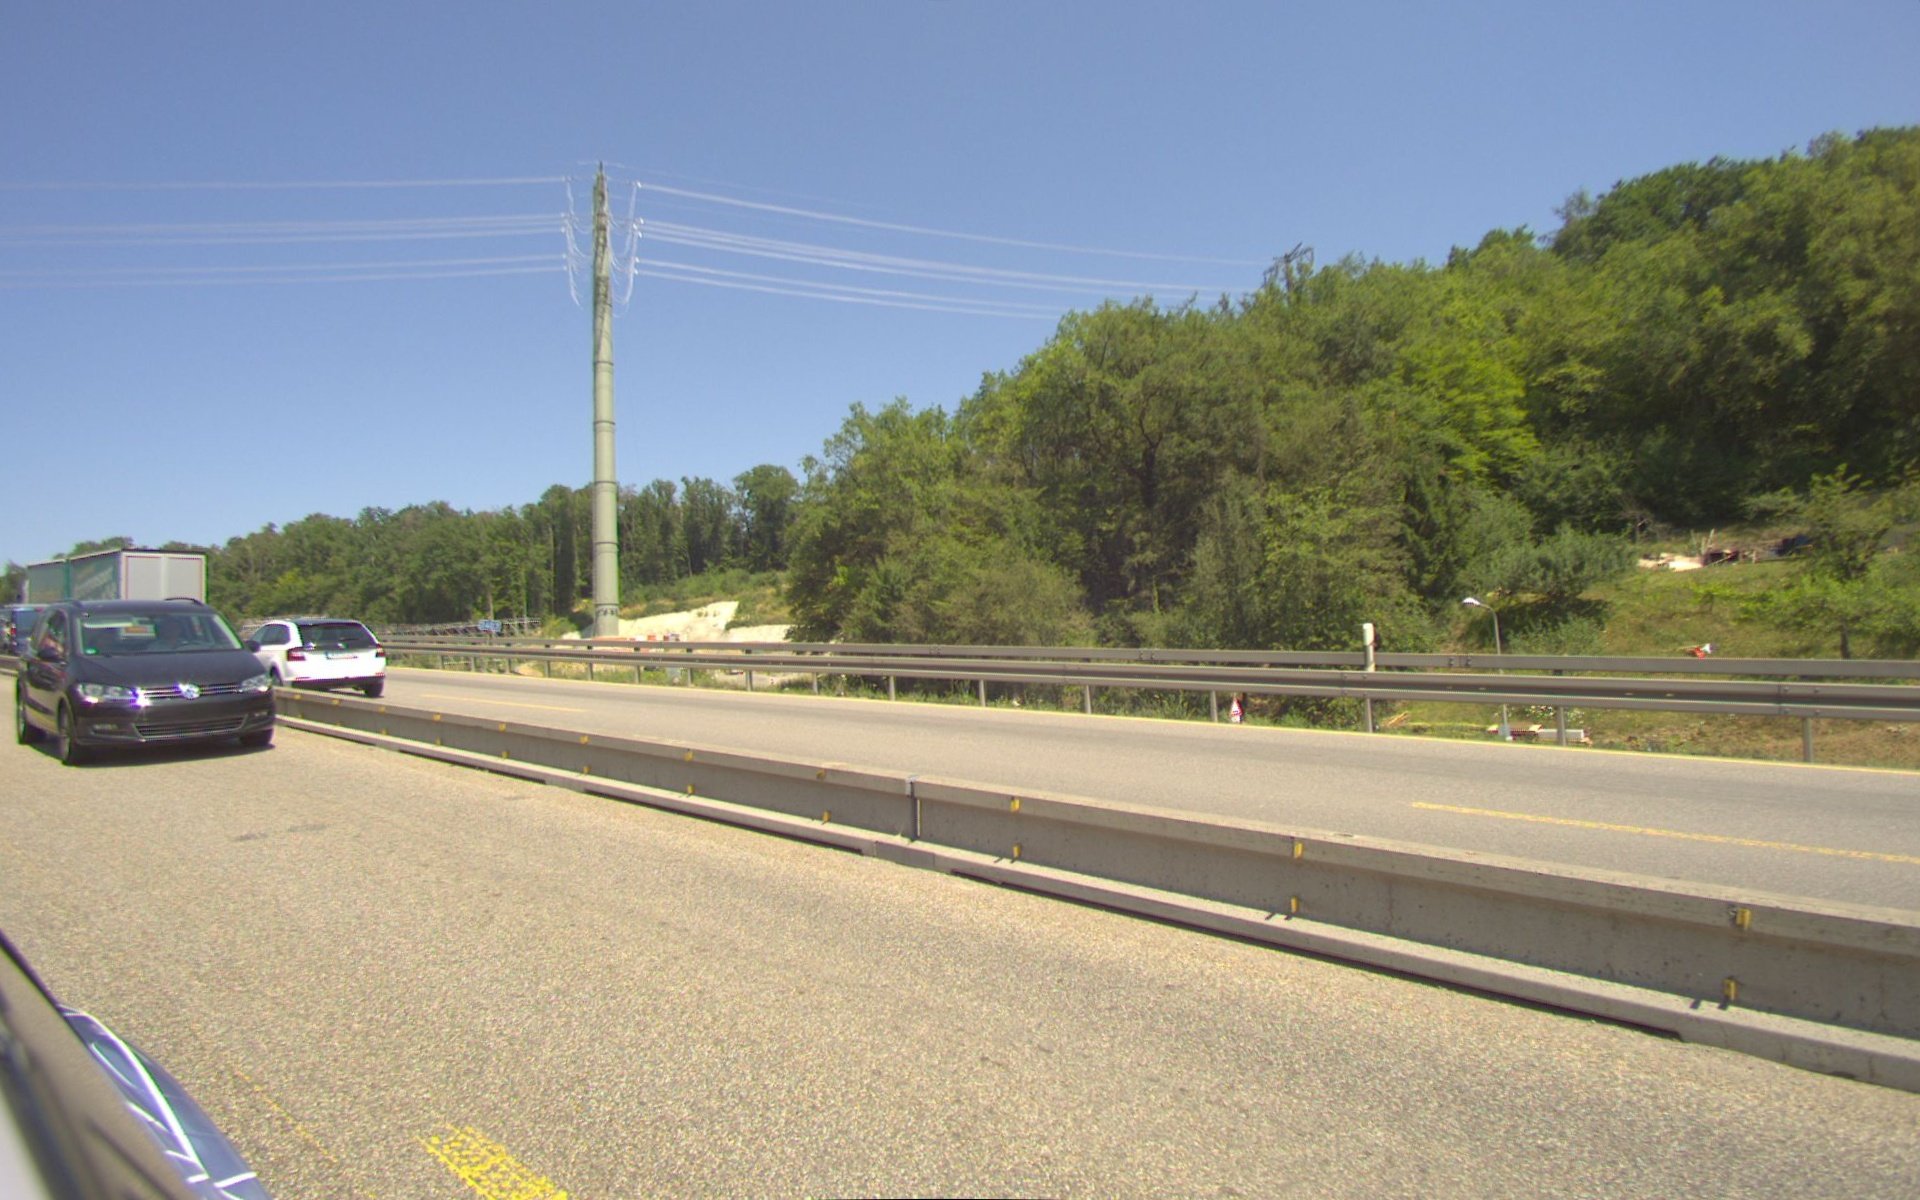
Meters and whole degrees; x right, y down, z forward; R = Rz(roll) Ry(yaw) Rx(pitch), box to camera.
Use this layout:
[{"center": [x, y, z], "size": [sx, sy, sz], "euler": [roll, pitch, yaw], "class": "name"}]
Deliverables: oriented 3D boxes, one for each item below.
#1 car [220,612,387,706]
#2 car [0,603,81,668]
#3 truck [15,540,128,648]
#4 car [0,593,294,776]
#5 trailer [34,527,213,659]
[{"center": [-12.319, 1.013, 18.900], "size": [4.152, 1.533, 1.565], "euler": [0, 0, 41], "class": "car"}, {"center": [-33.496, 1.212, 36.455], "size": [4.827, 2.189, 1.974], "euler": [0, 0, 39], "class": "car"}, {"center": [-40.666, -0.244, 46.290], "size": [5.778, 4.614, 2.820], "euler": [0, 0, 37], "class": "truck"}, {"center": [-9.792, 0.860, 11.934], "size": [5.299, 1.719, 1.838], "euler": [-2, -1, 40], "class": "car"}, {"center": [-34.591, -0.241, 41.493], "size": [14.564, 4.676, 2.806], "euler": [0, 0, 39], "class": "trailer"}]
